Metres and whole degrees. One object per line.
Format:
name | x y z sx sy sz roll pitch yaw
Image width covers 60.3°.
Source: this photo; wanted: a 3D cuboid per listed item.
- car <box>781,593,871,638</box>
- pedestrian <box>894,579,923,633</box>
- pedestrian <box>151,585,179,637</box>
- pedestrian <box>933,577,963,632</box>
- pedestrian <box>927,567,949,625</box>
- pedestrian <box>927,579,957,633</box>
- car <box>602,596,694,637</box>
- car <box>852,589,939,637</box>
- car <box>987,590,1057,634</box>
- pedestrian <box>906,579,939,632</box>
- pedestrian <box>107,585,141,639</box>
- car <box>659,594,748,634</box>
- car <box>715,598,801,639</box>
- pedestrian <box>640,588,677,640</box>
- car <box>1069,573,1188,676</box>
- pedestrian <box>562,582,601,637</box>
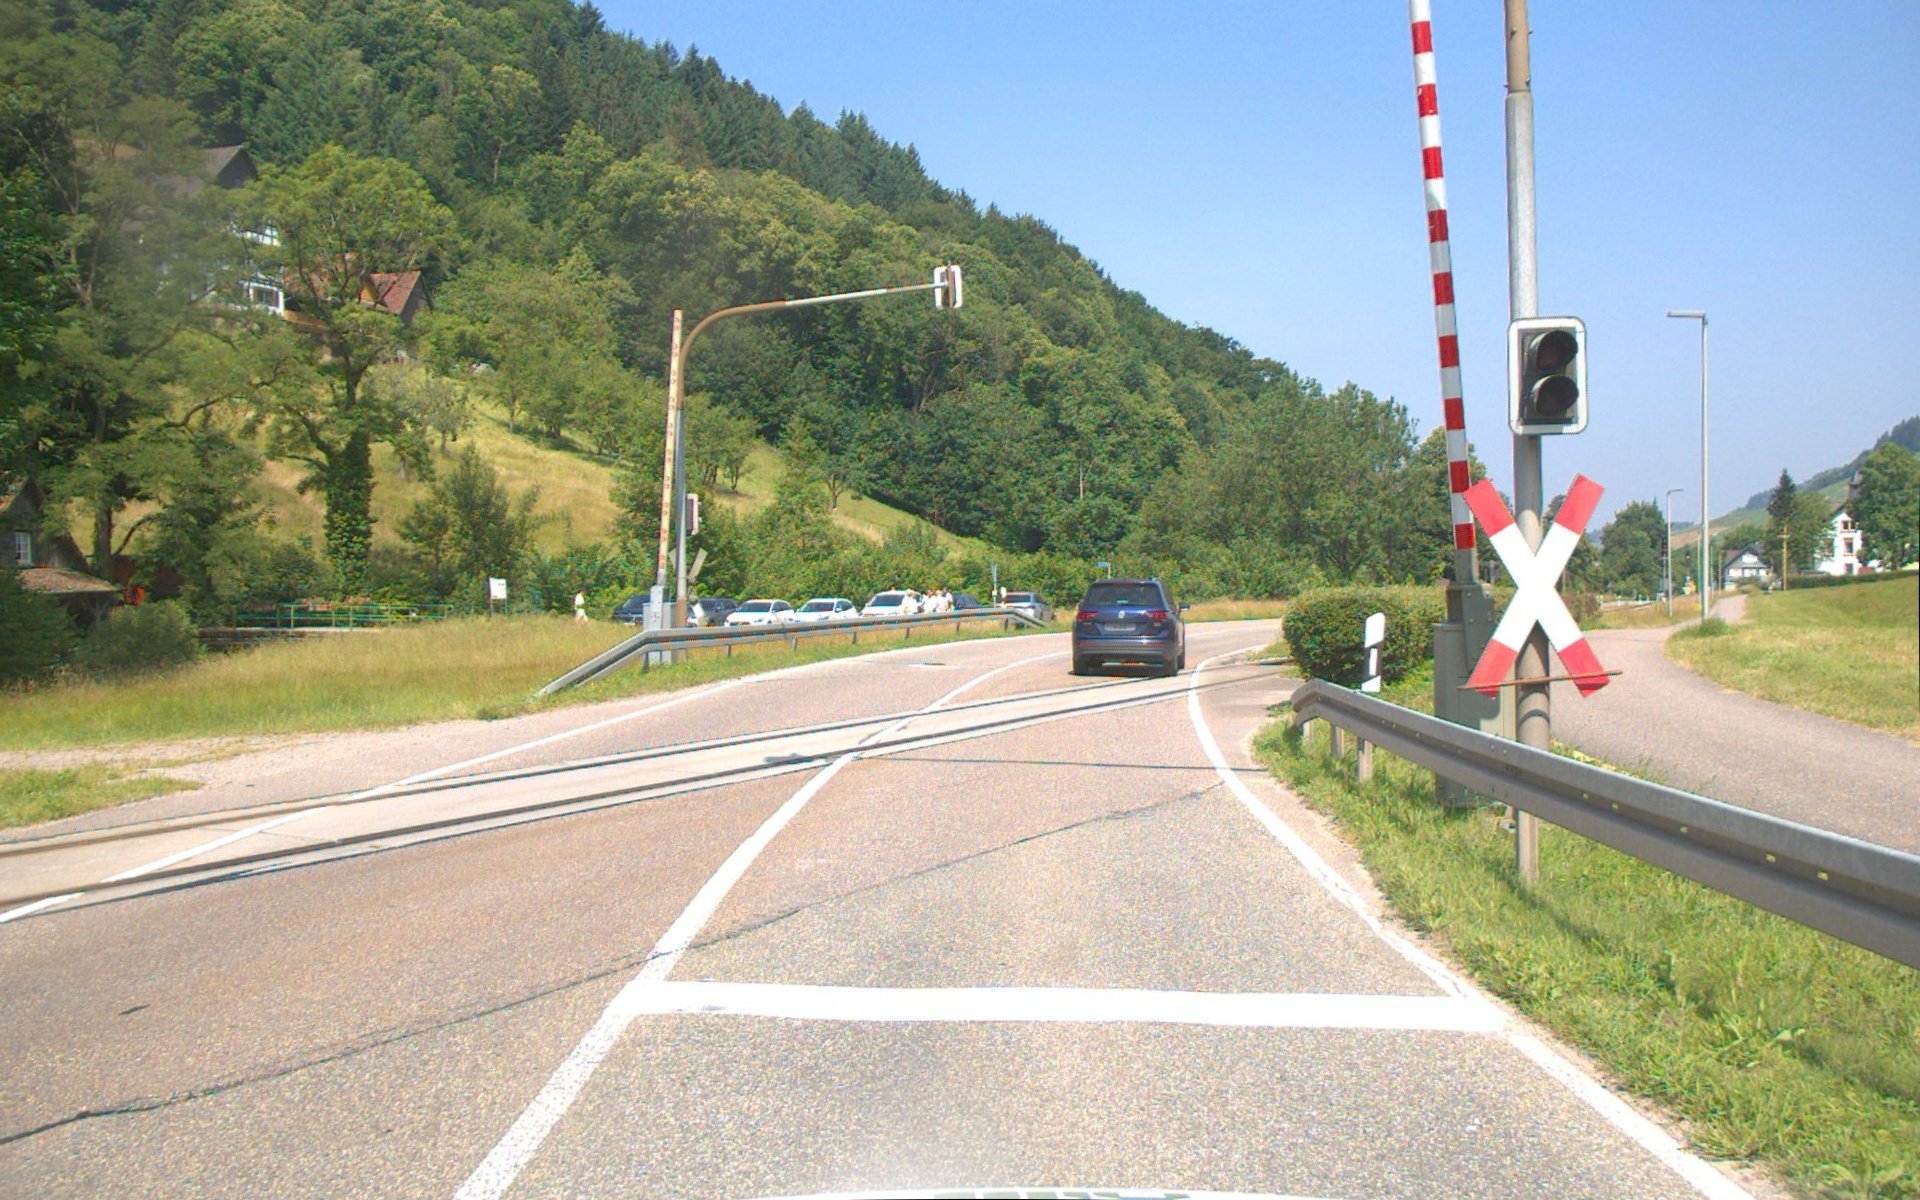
car | -5.276 0.589 65.676 1.951 1.670 4.905 -2 0 15
pedestrian | -1.791 0.214 57.549 0.772 1.874 0.698 -1 0 26
pedestrian | -31.822 0.457 66.179 0.920 2.049 0.693 -1 -1 -32
pedestrian | -0.414 0.152 58.024 0.764 1.891 0.639 -1 -1 -41
pedestrian | -0.766 -0.148 57.713 0.646 1.989 0.533 -2 0 6
pedestrian | -0.636 0.202 58.776 0.764 1.872 0.639 -1 -1 -41
car | -12.632 0.654 67.279 1.951 1.527 4.525 -2 0 13
car | -2.493 0.477 65.388 1.832 1.813 4.774 -1 0 19
car | 2.387 0.436 62.656 1.787 1.527 4.281 -2 0 13
pedestrian | -1.325 0.208 58.272 0.757 1.827 0.789 -2 -1 42
pedestrian | -32.764 0.467 64.835 0.684 2.049 0.933 -2 -1 16
car | -10.283 0.525 66.599 1.951 1.527 4.525 1 0 13
car | -8.001 0.705 65.940 1.951 1.527 4.525 -2 0 13
pedestrian | -11.007 0.510 60.389 0.933 1.826 1.001 -2 0 12
car | 3.058 0.385 29.351 1.813 1.678 4.143 0 0 10
pedestrian | -14.265 0.363 62.298 1.105 2.004 0.860 -2 -1 31
